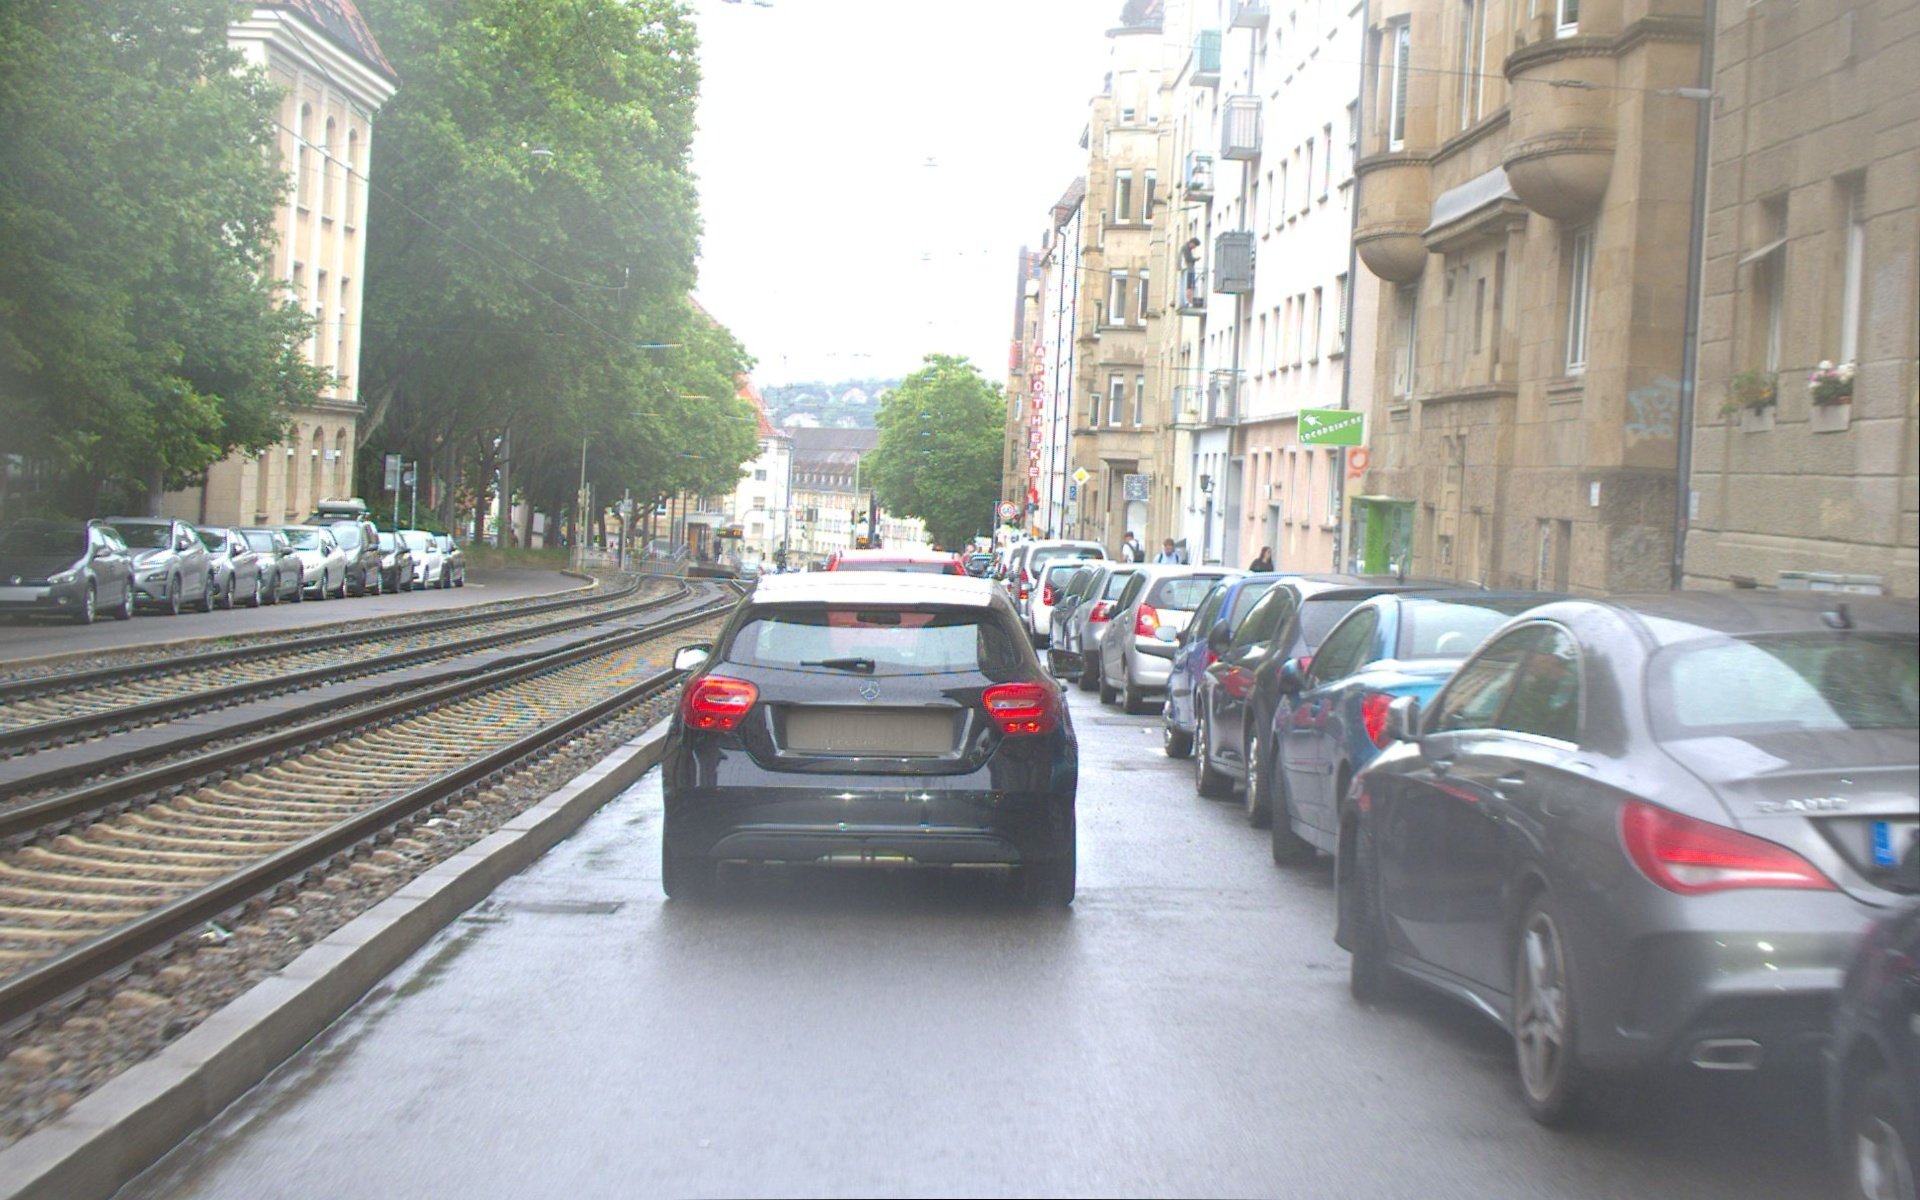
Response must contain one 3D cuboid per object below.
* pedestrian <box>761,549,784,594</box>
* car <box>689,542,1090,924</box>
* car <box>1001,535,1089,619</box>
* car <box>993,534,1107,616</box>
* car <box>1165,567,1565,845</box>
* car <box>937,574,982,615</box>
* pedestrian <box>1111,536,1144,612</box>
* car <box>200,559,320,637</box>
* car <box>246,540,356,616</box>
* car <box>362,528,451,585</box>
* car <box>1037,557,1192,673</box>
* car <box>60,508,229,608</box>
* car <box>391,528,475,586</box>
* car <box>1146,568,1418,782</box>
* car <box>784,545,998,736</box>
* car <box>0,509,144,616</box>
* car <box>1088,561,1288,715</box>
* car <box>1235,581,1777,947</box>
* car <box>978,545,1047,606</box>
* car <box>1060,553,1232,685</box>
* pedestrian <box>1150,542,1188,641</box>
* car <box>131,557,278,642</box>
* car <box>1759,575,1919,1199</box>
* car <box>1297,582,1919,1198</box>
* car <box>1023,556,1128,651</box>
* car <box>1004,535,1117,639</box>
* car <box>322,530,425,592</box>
[{"bbox_3d":[-6.913,-1.051,126.793,0.806,1.628,0.892,1,1,0],"label":"pedestrian"},{"bbox_3d":[-0.319,0.513,15.785,1.580,1.499,3.575,2,1,-1],"label":"car"},{"bbox_3d":[1.865,-0.541,76.233,1.828,1.744,4.467,2,1,1],"label":"car"},{"bbox_3d":[1.703,-0.520,66.483,1.871,1.450,4.903,2,1,-2],"label":"car"},{"bbox_3d":[2.365,0.567,21.057,1.787,1.457,4.084,2,1,-2],"label":"car"},{"bbox_3d":[-0.041,-0.236,143.566,1.827,1.612,3.864,1,1,0],"label":"car"},{"bbox_3d":[4.050,-0.631,83.190,0.746,1.827,1.039,0,1,1],"label":"pedestrian"},{"bbox_3d":[-13.184,-0.064,64.902,1.539,1.409,3.953,0,1,-1],"label":"car"},{"bbox_3d":[-13.414,-0.465,70.151,1.539,1.500,4.155,0,1,-1],"label":"car"},{"bbox_3d":[-13.659,-1.084,85.029,1.500,1.386,3.987,0,1,1],"label":"car"},{"bbox_3d":[2.007,0.167,45.810,1.669,1.405,4.312,2,1,-2],"label":"car"},{"bbox_3d":[-13.085,-0.683,55.402,1.754,1.531,4.543,0,1,-1],"label":"car"},{"bbox_3d":[-13.685,-1.140,89.355,1.614,1.424,3.852,2,1,-1],"label":"car"},{"bbox_3d":[2.326,0.504,25.548,1.543,1.410,3.446,2,1,-2],"label":"car"},{"bbox_3d":[-0.612,0.317,31.612,1.785,1.575,4.000,2,1,-1],"label":"car"},{"bbox_3d":[-13.165,-0.555,49.664,1.849,1.459,4.551,0,1,-2],"label":"car"},{"bbox_3d":[2.265,0.344,34.935,1.590,1.429,3.684,1,1,-3],"label":"car"},{"bbox_3d":[2.384,0.658,15.996,1.707,1.393,4.019,2,1,-2],"label":"car"},{"bbox_3d":[1.380,-0.672,91.502,1.693,1.524,4.000,2,1,0],"label":"car"},{"bbox_3d":[2.145,0.188,40.526,1.668,1.429,3.956,1,1,-2],"label":"car"},{"bbox_3d":[3.758,-0.155,61.815,0.607,1.757,0.688,0,1,-1],"label":"pedestrian"},{"bbox_3d":[-13.240,-0.036,60.448,1.754,1.409,4.154,0,1,-1],"label":"car"},{"bbox_3d":[2.469,0.710,5.087,1.671,1.439,3.790,0,1,0],"label":"car"},{"bbox_3d":[2.259,0.672,10.330,1.754,1.382,4.486,0,1,-4],"label":"car"},{"bbox_3d":[1.882,0.035,57.006,1.570,1.457,3.600,2,1,0],"label":"car"},{"bbox_3d":[1.760,-0.260,61.428,1.790,1.759,4.212,1,1,-1],"label":"car"},{"bbox_3d":[-13.691,-0.924,80.380,1.675,1.409,4.010,0,1,1],"label":"car"}]
